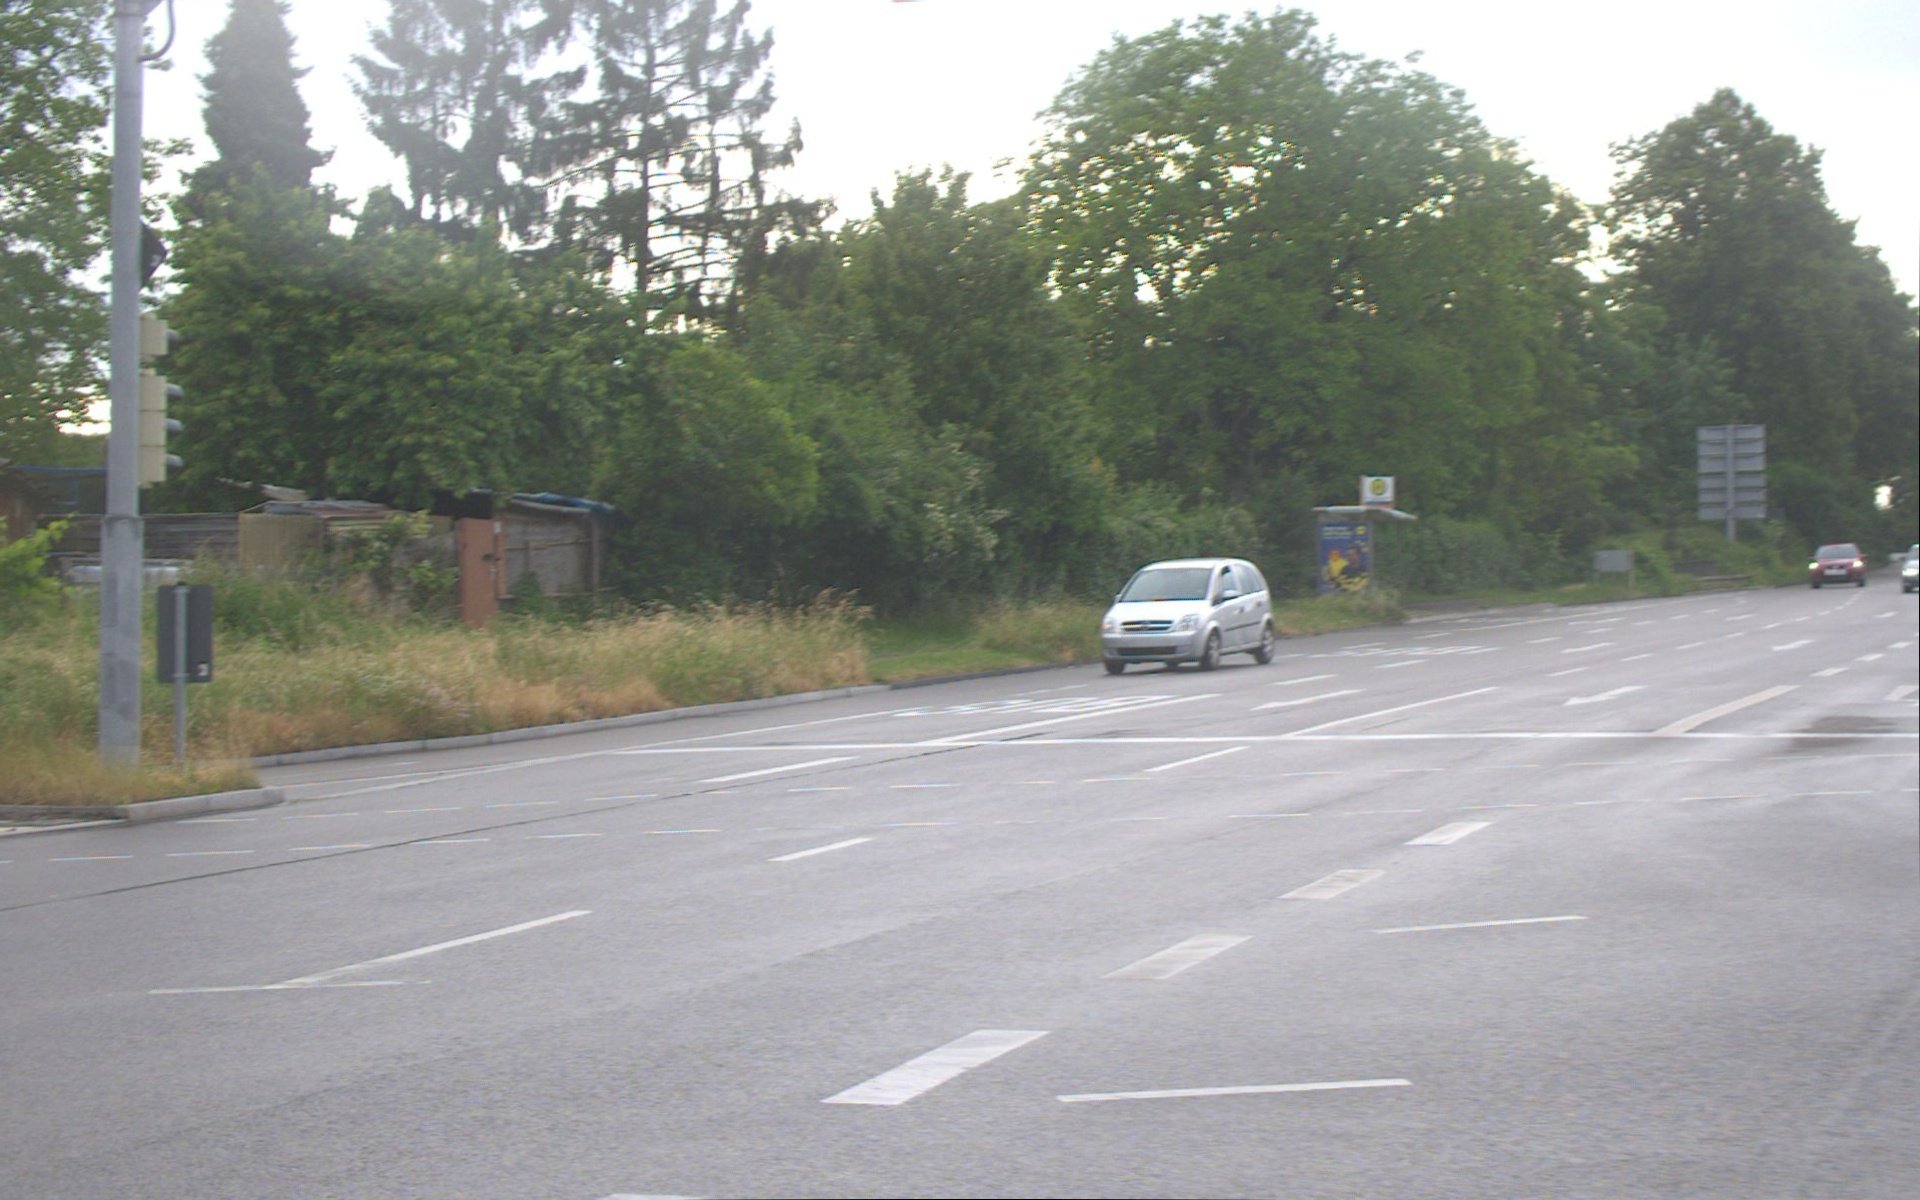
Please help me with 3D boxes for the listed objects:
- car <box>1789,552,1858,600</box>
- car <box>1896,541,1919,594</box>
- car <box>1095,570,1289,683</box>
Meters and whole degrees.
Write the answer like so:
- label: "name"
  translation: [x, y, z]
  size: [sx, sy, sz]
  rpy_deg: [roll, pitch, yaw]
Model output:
- label: "car"
  translation: [29.527, -0.816, 117.479]
  size: [1.895, 1.590, 4.485]
  rpy_deg: [-1, 0, 19]
- label: "car"
  translation: [29.110, -0.986, 102.728]
  size: [1.895, 1.529, 4.485]
  rpy_deg: [-1, 0, 19]
- label: "car"
  translation: [3.512, 0.368, 51.278]
  size: [1.770, 1.590, 4.485]
  rpy_deg: [-1, 0, 19]
